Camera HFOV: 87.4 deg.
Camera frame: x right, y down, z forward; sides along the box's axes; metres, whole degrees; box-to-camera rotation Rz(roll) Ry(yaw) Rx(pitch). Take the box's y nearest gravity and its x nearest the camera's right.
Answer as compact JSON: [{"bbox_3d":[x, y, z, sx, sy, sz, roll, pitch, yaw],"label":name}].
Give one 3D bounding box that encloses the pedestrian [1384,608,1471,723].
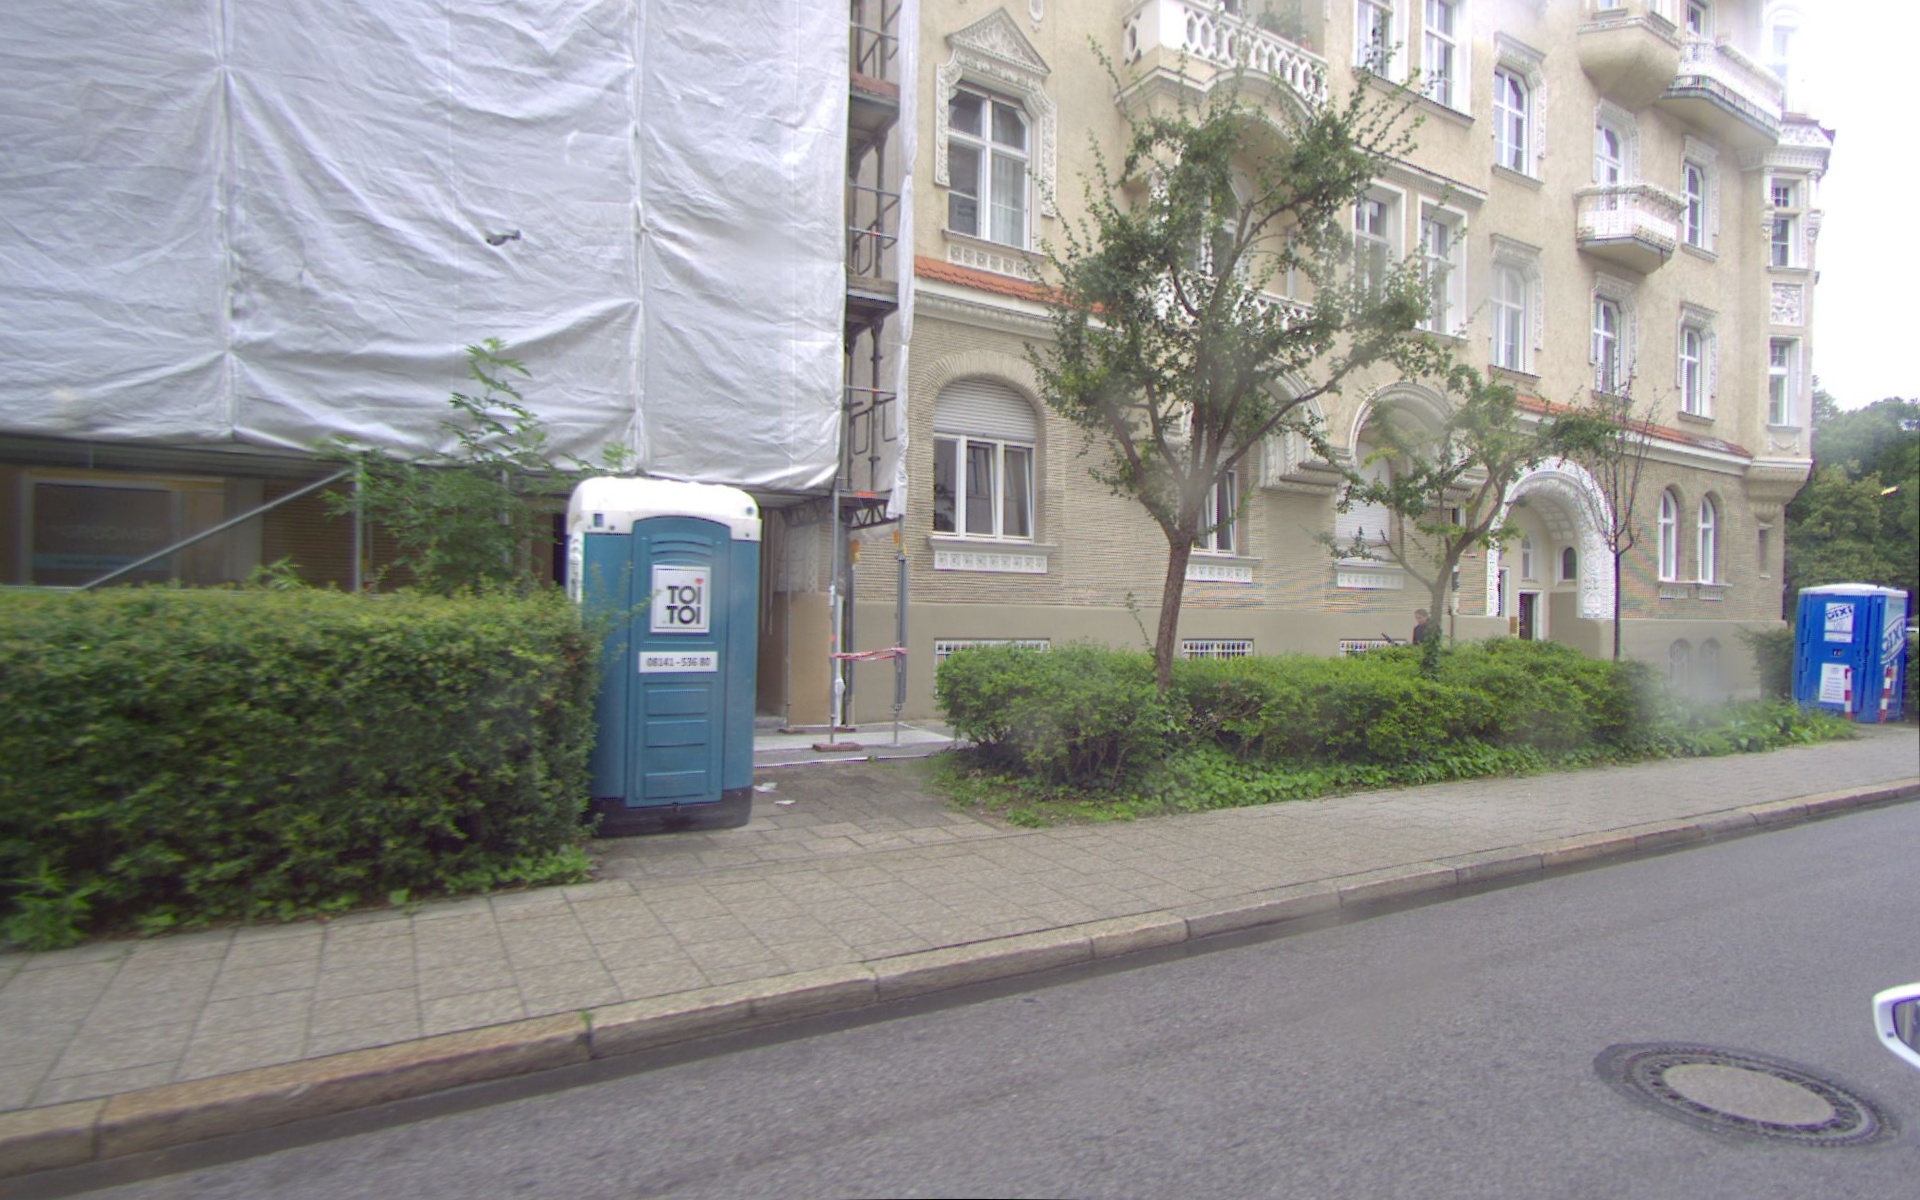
[{"bbox_3d":[7.496,1.024,16.119,0.937,1.774,0.909,1,-1,-30],"label":"pedestrian"}]
